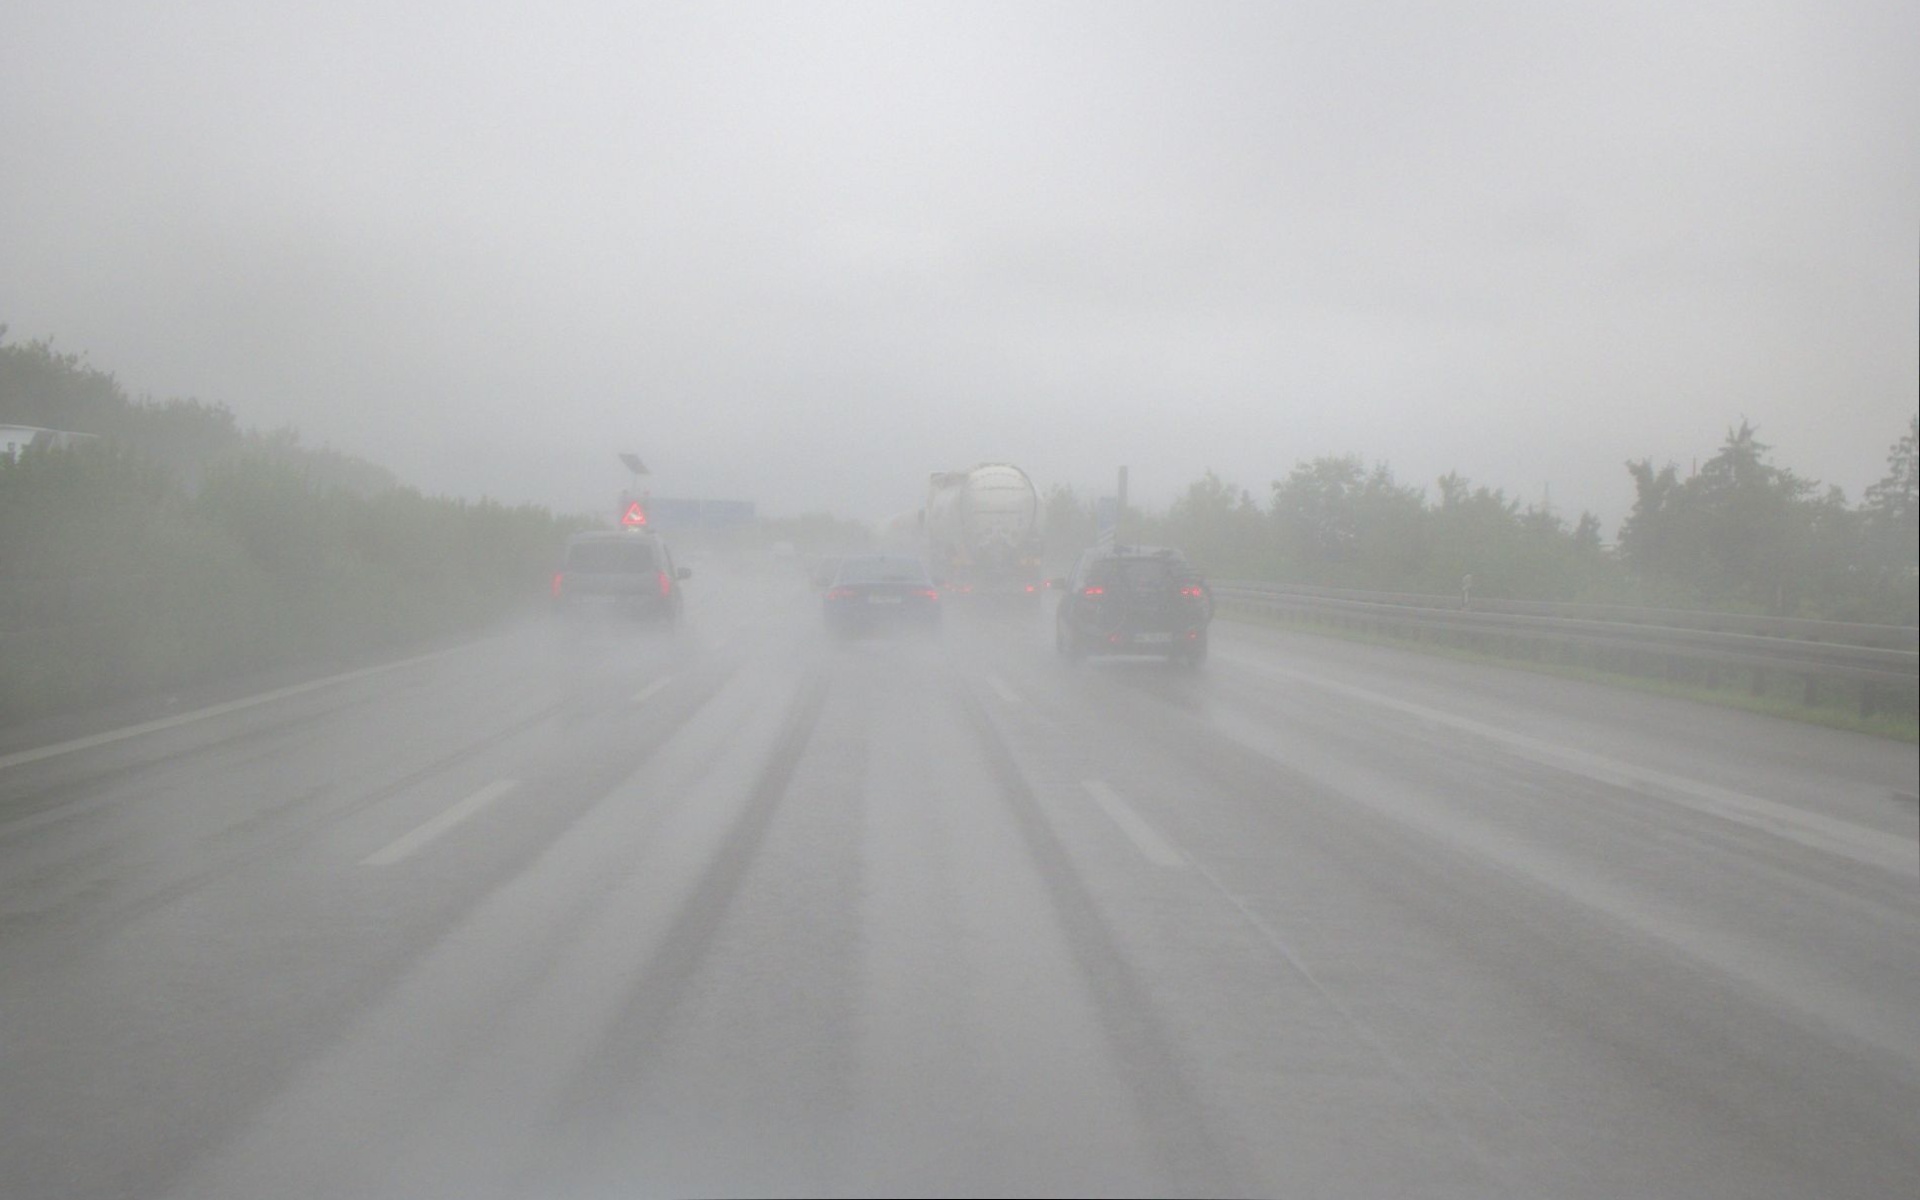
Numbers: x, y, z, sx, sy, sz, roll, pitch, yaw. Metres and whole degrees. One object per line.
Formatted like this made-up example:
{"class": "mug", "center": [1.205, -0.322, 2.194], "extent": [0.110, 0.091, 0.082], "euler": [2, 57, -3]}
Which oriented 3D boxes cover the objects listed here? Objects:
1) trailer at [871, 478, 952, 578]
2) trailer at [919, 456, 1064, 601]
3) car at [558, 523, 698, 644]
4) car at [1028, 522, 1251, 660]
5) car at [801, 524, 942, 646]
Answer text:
{"class": "trailer", "center": [-1.997, -2.823, 137.590], "extent": [3.004, 3.835, 8.624], "euler": [-1, 0, -2]}
{"class": "trailer", "center": [0.727, -1.900, 92.733], "extent": [3.188, 3.657, 11.668], "euler": [0, 1, -3]}
{"class": "car", "center": [-4.965, -0.279, 51.833], "extent": [1.925, 1.735, 4.404], "euler": [0, 1, -3]}
{"class": "car", "center": [2.327, -0.161, 46.399], "extent": [2.457, 1.740, 5.720], "euler": [0, 1, -3]}
{"class": "car", "center": [-1.384, -0.252, 52.119], "extent": [1.978, 1.750, 4.482], "euler": [0, 1, -3]}
